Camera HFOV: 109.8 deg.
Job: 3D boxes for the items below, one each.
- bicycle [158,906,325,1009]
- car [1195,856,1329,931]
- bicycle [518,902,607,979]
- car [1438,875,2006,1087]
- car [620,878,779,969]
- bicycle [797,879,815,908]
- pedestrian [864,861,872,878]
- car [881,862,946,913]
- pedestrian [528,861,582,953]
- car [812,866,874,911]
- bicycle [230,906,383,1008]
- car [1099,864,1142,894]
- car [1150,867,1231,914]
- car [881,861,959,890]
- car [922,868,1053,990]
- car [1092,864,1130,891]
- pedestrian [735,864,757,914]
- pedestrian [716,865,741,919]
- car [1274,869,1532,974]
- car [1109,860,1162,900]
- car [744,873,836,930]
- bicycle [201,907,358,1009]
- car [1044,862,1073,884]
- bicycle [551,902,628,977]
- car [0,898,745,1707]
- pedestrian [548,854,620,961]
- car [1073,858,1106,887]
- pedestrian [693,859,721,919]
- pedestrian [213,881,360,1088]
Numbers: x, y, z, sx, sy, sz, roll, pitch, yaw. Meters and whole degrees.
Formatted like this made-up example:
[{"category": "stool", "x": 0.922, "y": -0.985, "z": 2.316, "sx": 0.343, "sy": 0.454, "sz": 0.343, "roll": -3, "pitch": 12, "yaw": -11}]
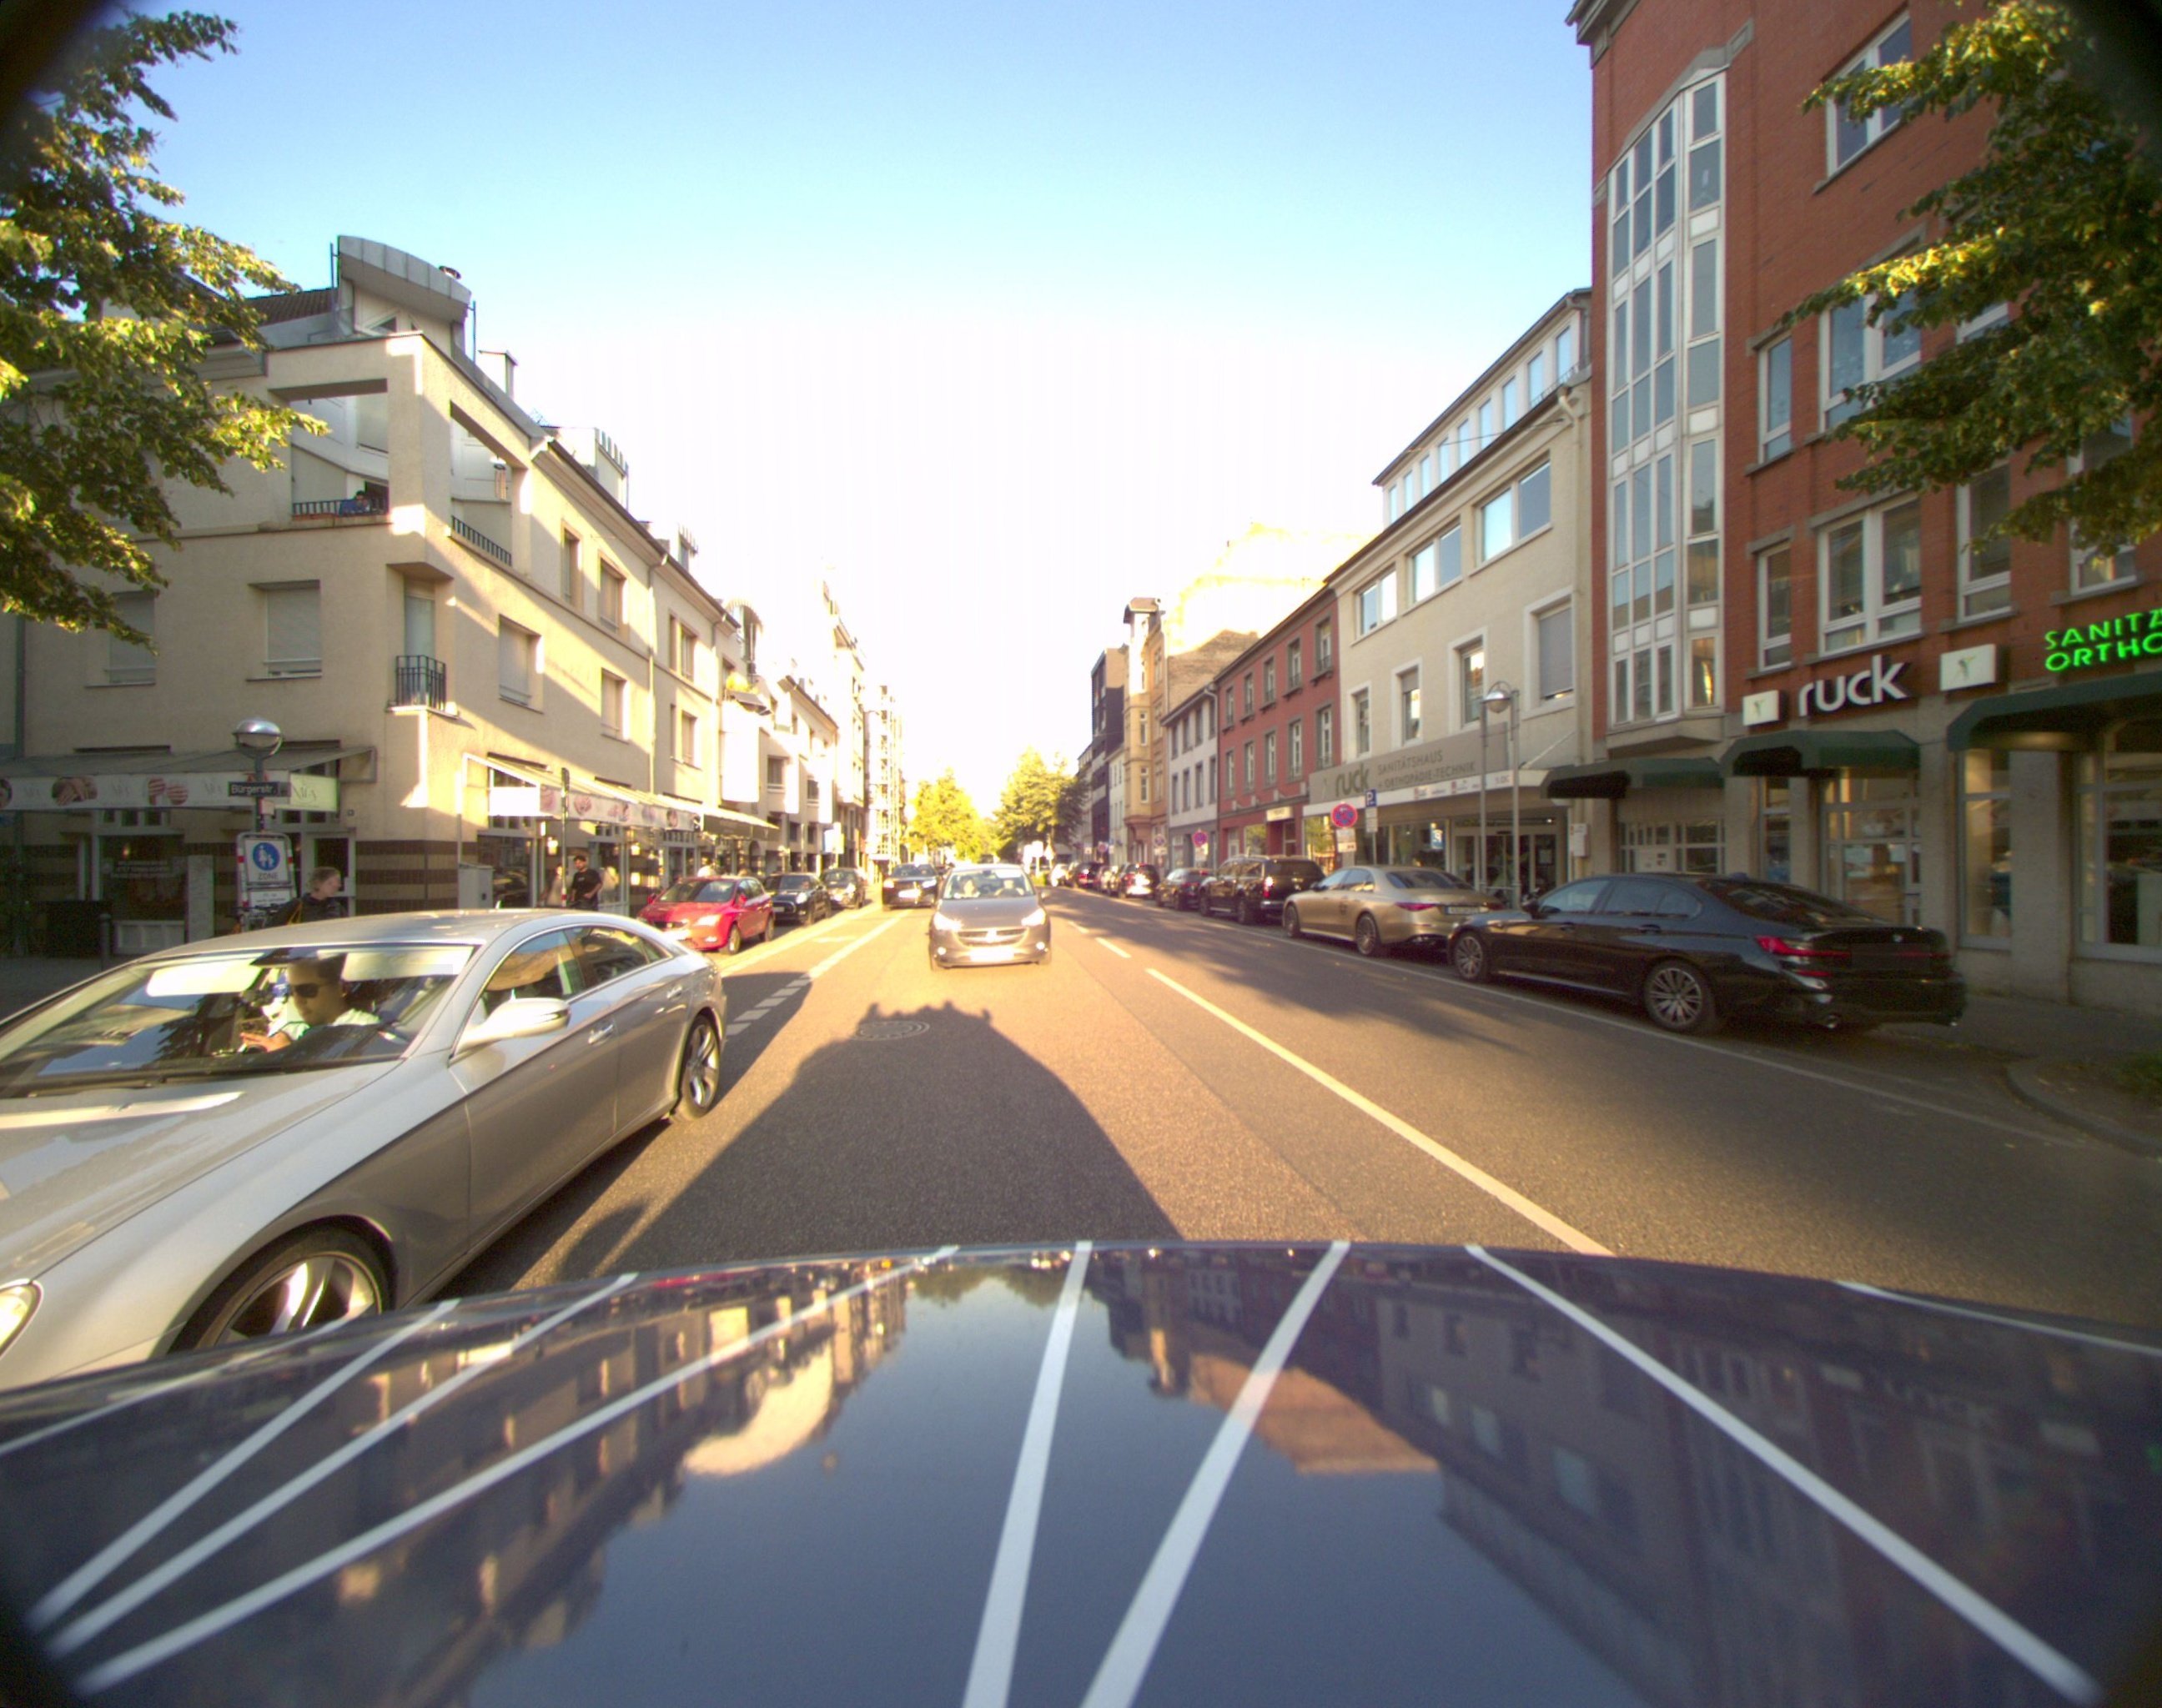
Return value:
[{"category": "bicycle", "x": -11.074, "y": 1.314, "z": 10.114, "sx": 0.322, "sy": 1.098, "sz": 1.878, "roll": -1, "pitch": 0, "yaw": -7}, {"category": "car", "x": 4.640, "y": 0.965, "z": 20.344, "sx": 1.726, "sy": 1.768, "sz": 4.935, "roll": 1, "pitch": -1, "yaw": -9}, {"category": "bicycle", "x": -8.379, "y": 1.364, "z": 12.364, "sx": 0.315, "sy": 1.040, "sz": 1.881, "roll": 0, "pitch": 0, "yaw": -5}, {"category": "car", "x": 5.881, "y": 1.016, "z": 7.919, "sx": 1.726, "sy": 1.464, "sz": 4.538, "roll": 2, "pitch": -1, "yaw": -7}, {"category": "car", "x": -7.202, "y": 1.229, "z": 14.775, "sx": 1.594, "sy": 1.425, "sz": 3.923, "roll": 0, "pitch": 0, "yaw": -8}, {"category": "bicycle", "x": -10.637, "y": 1.514, "z": 29.411, "sx": 0.296, "sy": 1.079, "sz": 1.462, "roll": -1, "pitch": 0, "yaw": -7}, {"category": "pedestrian", "x": -15.518, "y": 1.140, "z": 55.350, "sx": 0.492, "sy": 1.256, "sz": 0.421, "roll": -2, "pitch": 1, "yaw": -8}, {"category": "car", "x": -5.961, "y": 1.133, "z": 27.497, "sx": 1.891, "sy": 1.626, "sz": 4.224, "roll": -2, "pitch": 0, "yaw": -8}, {"category": "pedestrian", "x": -10.238, "y": 1.008, "z": 14.807, "sx": 0.631, "sy": 1.739, "sz": 0.669, "roll": 0, "pitch": 0, "yaw": -8}, {"category": "car", "x": -9.068, "y": 1.270, "z": 29.208, "sx": 1.622, "sy": 1.583, "sz": 3.923, "roll": -1, "pitch": 0, "yaw": -8}, {"category": "bicycle", "x": -10.283, "y": 1.315, "z": 10.183, "sx": 0.322, "sy": 1.098, "sz": 1.878, "roll": -1, "pitch": 0, "yaw": -7}, {"category": "car", "x": 2.039, "y": 1.291, "z": 40.068, "sx": 1.690, "sy": 1.461, "sz": 3.689, "roll": 2, "pitch": -1, "yaw": -6}, {"category": "car", "x": 3.734, "y": 1.223, "z": 26.538, "sx": 1.707, "sy": 1.429, "sz": 4.011, "roll": 2, "pitch": -1, "yaw": -8}, {"category": "car", "x": -9.630, "y": 1.281, "z": 45.690, "sx": 4.293, "sy": 1.665, "sz": 1.735, "roll": 0, "pitch": 0, "yaw": -2}, {"category": "car", "x": -1.448, "y": 0.997, "z": 11.672, "sx": 1.623, "sy": 1.465, "sz": 3.686, "roll": -2, "pitch": 0, "yaw": -8}, {"category": "car", "x": 1.696, "y": 1.327, "z": 44.137, "sx": 1.674, "sy": 1.448, "sz": 3.563, "roll": 2, "pitch": -1, "yaw": -6}, {"category": "pedestrian", "x": -12.485, "y": 1.298, "z": 28.355, "sx": 0.576, "sy": 1.789, "sz": 0.450, "roll": -2, "pitch": 1, "yaw": -7}, {"category": "pedestrian", "x": -10.631, "y": 1.132, "z": 22.907, "sx": 0.521, "sy": 1.583, "sz": 0.408, "roll": 2, "pitch": 0, "yaw": -8}, {"category": "car", "x": 5.330, "y": 1.031, "z": 13.565, "sx": 2.000, "sy": 1.463, "sz": 5.104, "roll": 1, "pitch": -1, "yaw": -6}, {"category": "car", "x": 2.459, "y": 1.154, "z": 35.095, "sx": 1.726, "sy": 1.673, "sz": 4.047, "roll": 2, "pitch": -1, "yaw": -6}, {"category": "car", "x": -8.202, "y": 1.281, "z": 21.732, "sx": 1.622, "sy": 1.425, "sz": 3.923, "roll": 0, "pitch": 0, "yaw": -8}, {"category": "bicycle", "x": -10.595, "y": 1.319, "z": 10.136, "sx": 0.291, "sy": 1.098, "sz": 1.886, "roll": -1, "pitch": 0, "yaw": -7}, {"category": "car", "x": -1.656, "y": 1.340, "z": 54.891, "sx": 1.674, "sy": 1.512, "sz": 3.562, "roll": 1, "pitch": 0, "yaw": -8}, {"category": "bicycle", "x": -8.042, "y": 1.367, "z": 12.486, "sx": 0.315, "sy": 1.040, "sz": 1.664, "roll": 0, "pitch": 0, "yaw": -5}, {"category": "car", "x": -3.038, "y": 1.071, "z": 3.140, "sx": 1.748, "sy": 1.393, "sz": 4.635, "roll": -2, "pitch": 1, "yaw": -8}, {"category": "pedestrian", "x": -9.191, "y": 0.966, "z": 14.071, "sx": 0.779, "sy": 1.872, "sz": 0.669, "roll": -4, "pitch": 1, "yaw": -8}, {"category": "car", "x": 0.500, "y": 1.140, "z": 47.869, "sx": 1.674, "sy": 1.763, "sz": 3.563, "roll": 2, "pitch": -1, "yaw": -6}, {"category": "pedestrian", "x": -11.161, "y": 1.047, "z": 22.682, "sx": 0.545, "sy": 1.748, "sz": 0.502, "roll": 2, "pitch": 0, "yaw": -8}, {"category": "pedestrian", "x": -7.064, "y": 1.095, "z": 6.766, "sx": 0.795, "sy": 1.666, "sz": 0.704, "roll": 2, "pitch": 1, "yaw": 28}]
